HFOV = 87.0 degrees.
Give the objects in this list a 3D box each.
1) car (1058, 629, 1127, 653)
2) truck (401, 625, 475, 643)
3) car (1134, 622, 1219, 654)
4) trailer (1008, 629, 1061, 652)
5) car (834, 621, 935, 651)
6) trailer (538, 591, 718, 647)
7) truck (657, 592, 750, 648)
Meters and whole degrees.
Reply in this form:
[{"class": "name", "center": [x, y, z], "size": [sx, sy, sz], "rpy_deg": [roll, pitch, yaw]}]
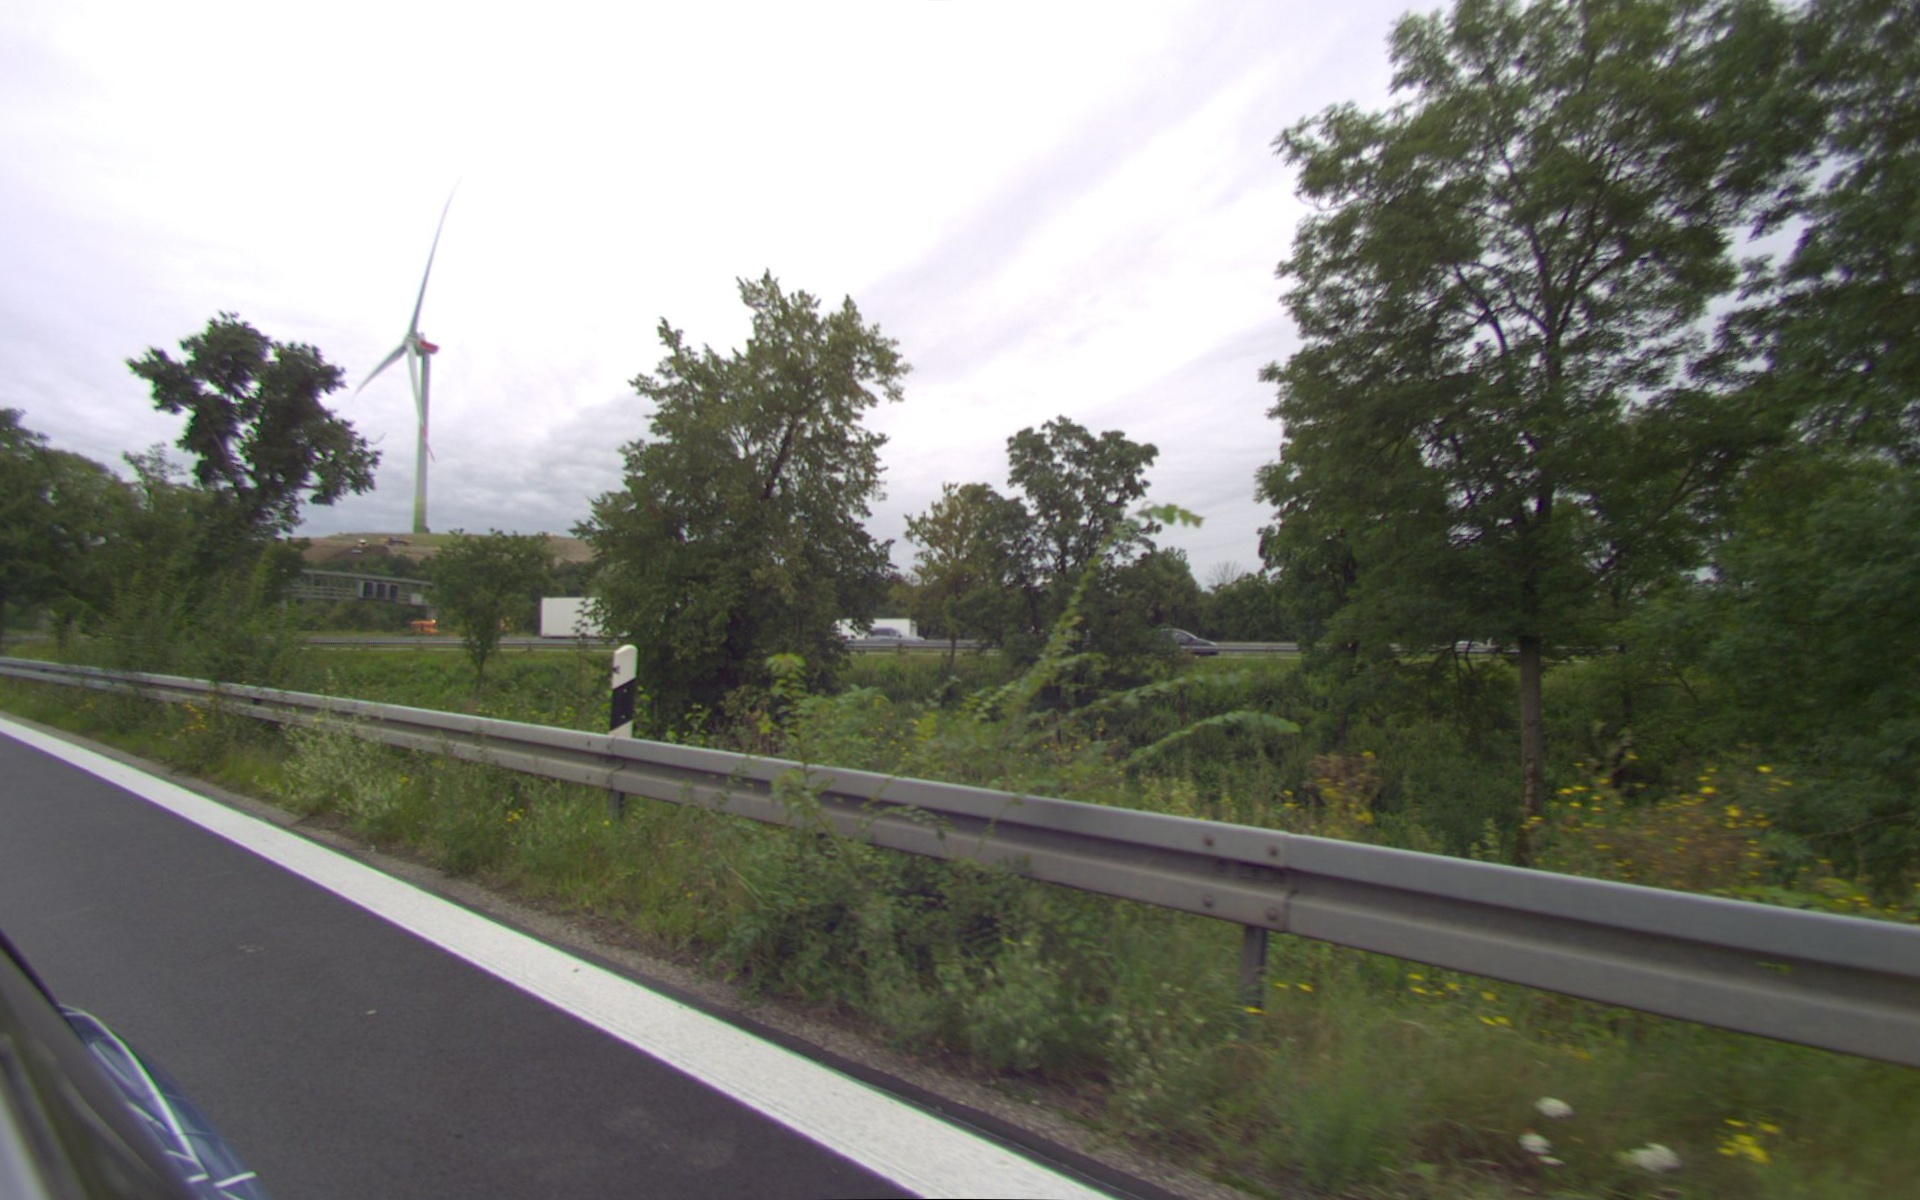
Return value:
[{"class": "car", "center": [9.408, 2.883, 71.685], "size": [4.757, 1.638, 1.881], "rpy_deg": [0, -2, 12]}, {"class": "truck", "center": [-61.980, 3.998, 120.146], "size": [8.730, 2.029, 1.991], "rpy_deg": [0, -2, 15]}, {"class": "car", "center": [11.818, 2.052, 55.400], "size": [4.507, 1.650, 1.960], "rpy_deg": [0, -2, 13]}, {"class": "trailer", "center": [5.361, 2.879, 72.563], "size": [3.573, 1.638, 1.881], "rpy_deg": [0, -2, 12]}, {"class": "car", "center": [-7.684, 3.672, 103.655], "size": [9.983, 3.005, 2.729], "rpy_deg": [0, -2, 13]}, {"class": "trailer", "center": [-25.906, 1.534, 78.893], "size": [13.805, 4.167, 2.765], "rpy_deg": [-1, -2, 12]}, {"class": "truck", "center": [-19.601, 1.540, 77.557], "size": [6.378, 4.167, 2.765], "rpy_deg": [-1, -2, 12]}]
